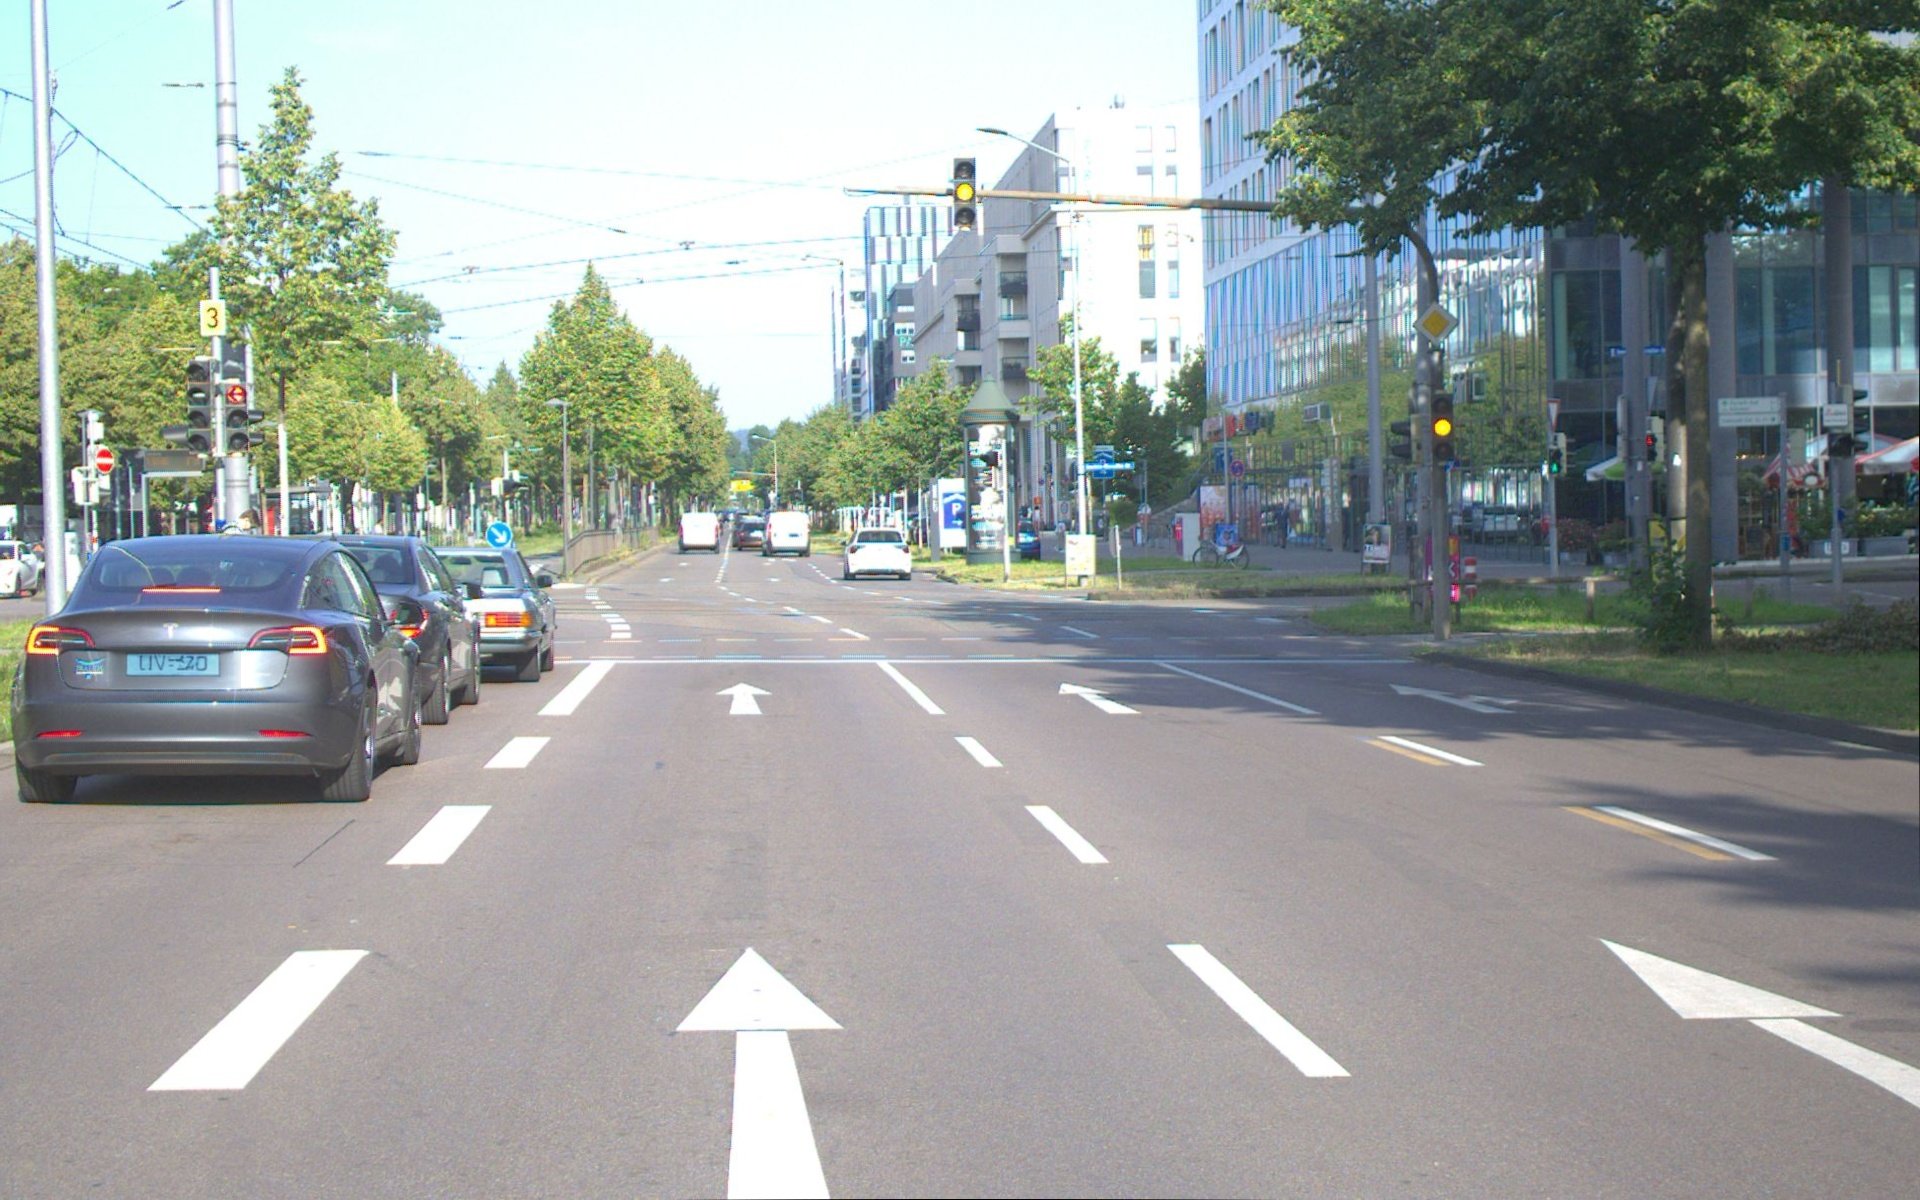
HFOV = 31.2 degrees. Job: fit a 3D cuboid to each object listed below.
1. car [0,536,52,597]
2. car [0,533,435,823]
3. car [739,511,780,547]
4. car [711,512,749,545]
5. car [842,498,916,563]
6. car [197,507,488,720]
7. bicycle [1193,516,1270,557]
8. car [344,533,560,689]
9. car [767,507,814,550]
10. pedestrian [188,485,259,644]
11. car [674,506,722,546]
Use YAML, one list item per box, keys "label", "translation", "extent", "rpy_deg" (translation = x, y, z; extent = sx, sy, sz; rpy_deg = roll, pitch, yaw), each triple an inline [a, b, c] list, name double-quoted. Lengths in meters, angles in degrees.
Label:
- label: "car"
  translation: [-24.538, -0.868, 87.439]
  extent: [1.993, 1.499, 4.094]
  rpy_deg: [-1, 1, -3]
- label: "car"
  translation: [-4.132, 0.354, 19.484]
  extent: [1.889, 1.381, 4.335]
  rpy_deg: [1, 2, -3]
- label: "car"
  translation: [-9.707, -3.439, 166.571]
  extent: [1.923, 1.678, 4.001]
  rpy_deg: [1, 2, -3]
- label: "car"
  translation: [-12.113, -3.762, 180.708]
  extent: [1.923, 1.678, 4.001]
  rpy_deg: [1, 2, -5]
- label: "car"
  translation: [-2.199, -1.882, 92.192]
  extent: [1.864, 1.678, 4.001]
  rpy_deg: [1, 2, -3]
- label: "car"
  translation: [-4.723, 0.042, 26.804]
  extent: [1.786, 1.473, 4.355]
  rpy_deg: [1, 2, -4]
- label: "bicycle"
  translation: [6.954, -1.617, 88.095]
  extent: [1.877, 1.029, 0.772]
  rpy_deg: [0, 2, 43]
- label: "car"
  translation: [-4.849, 0.062, 33.273]
  extent: [1.763, 1.325, 4.401]
  rpy_deg: [1, 2, -4]
- label: "car"
  translation: [-6.970, -2.967, 141.378]
  extent: [1.864, 1.678, 4.001]
  rpy_deg: [1, 2, -3]
- label: "pedestrian"
  translation: [-8.370, -0.408, 39.071]
  extent: [0.699, 1.786, 0.635]
  rpy_deg: [0, 2, -3]
- label: "car"
  translation: [-11.598, -3.295, 152.471]
  extent: [2.014, 1.678, 4.001]
  rpy_deg: [1, 2, -3]
